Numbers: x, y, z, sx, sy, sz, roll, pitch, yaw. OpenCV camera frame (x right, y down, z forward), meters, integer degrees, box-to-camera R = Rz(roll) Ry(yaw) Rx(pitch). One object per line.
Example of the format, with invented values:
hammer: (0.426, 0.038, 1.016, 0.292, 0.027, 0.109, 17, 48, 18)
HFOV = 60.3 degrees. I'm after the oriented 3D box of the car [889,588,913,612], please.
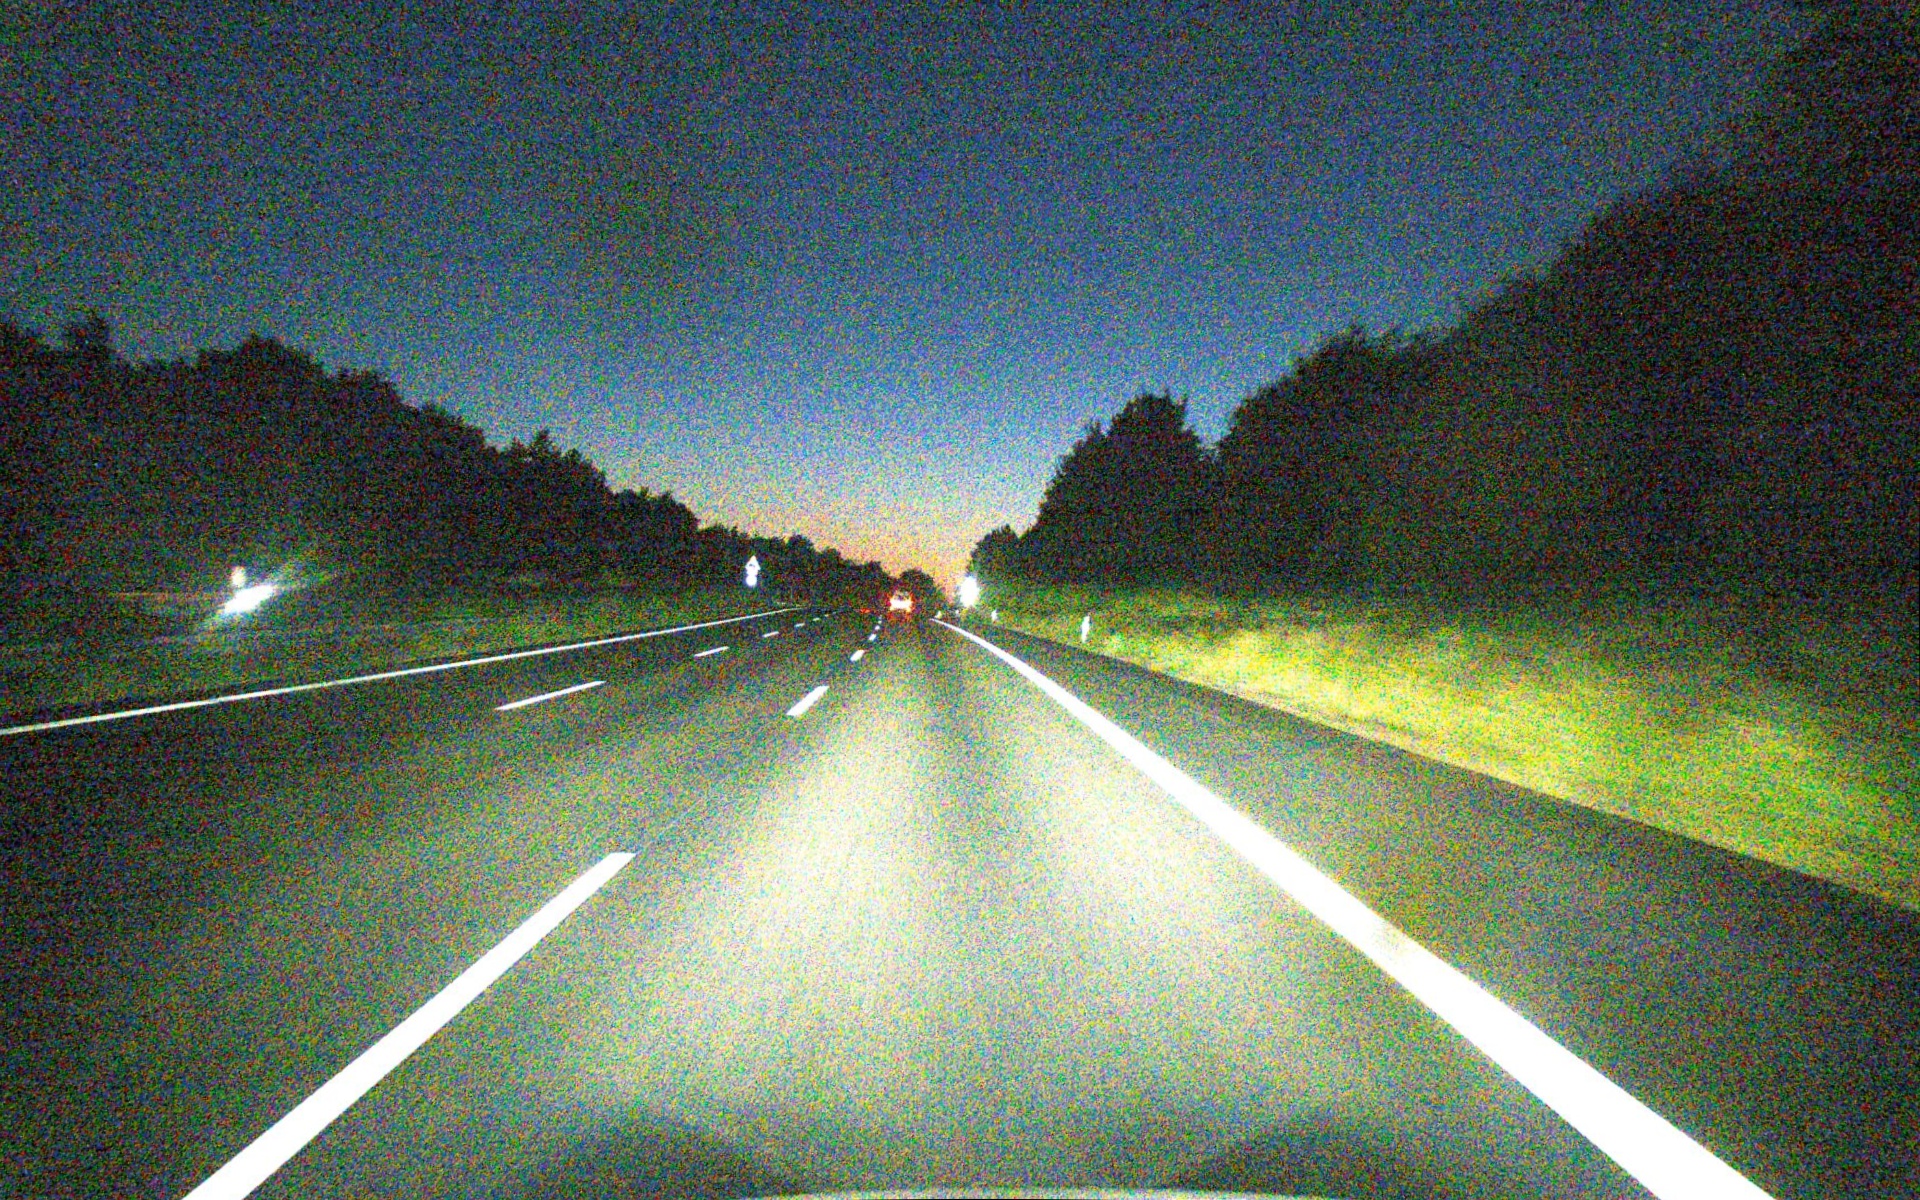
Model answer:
car: (-6.539, 0.004, 184.059, 2.476, 2.597, 6.050, 3, 0, -1)
